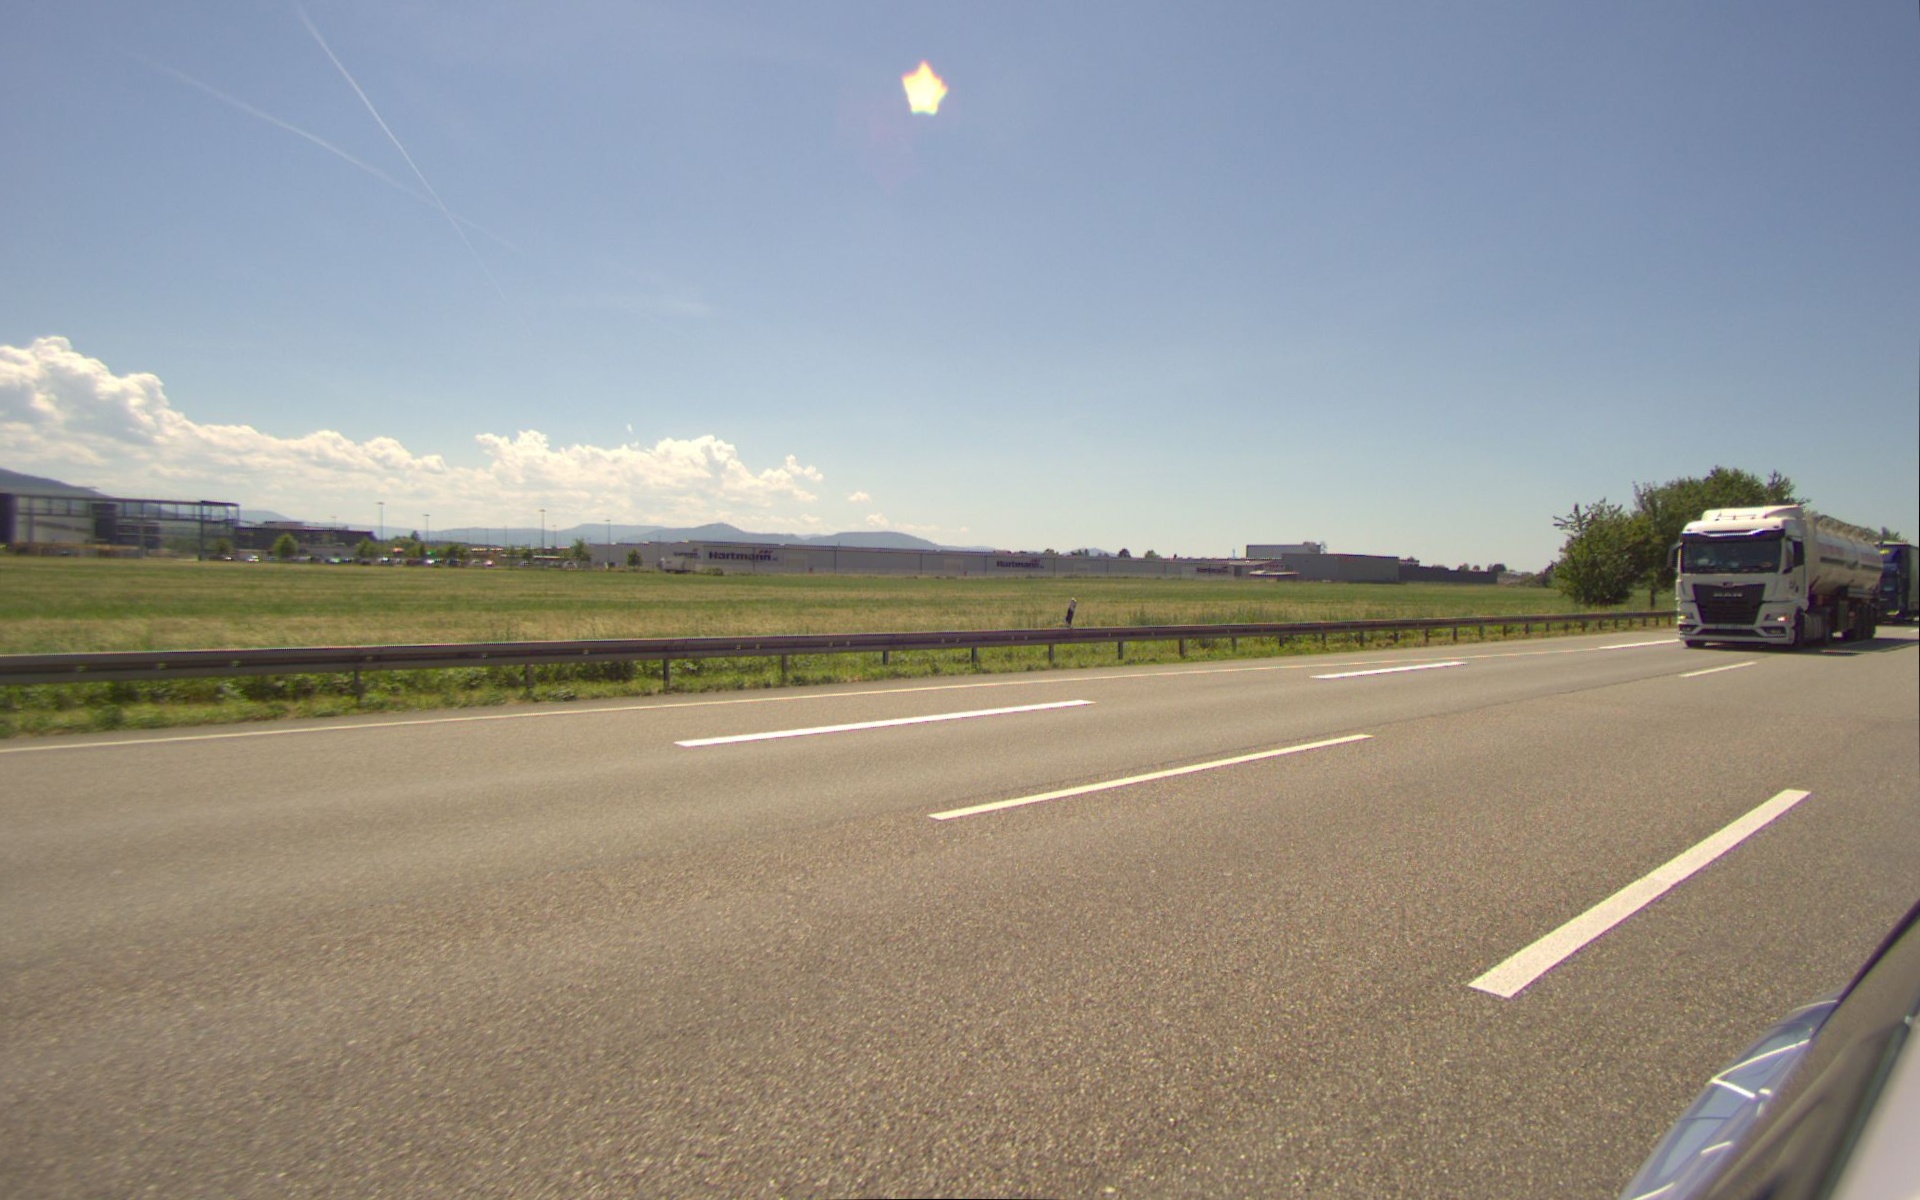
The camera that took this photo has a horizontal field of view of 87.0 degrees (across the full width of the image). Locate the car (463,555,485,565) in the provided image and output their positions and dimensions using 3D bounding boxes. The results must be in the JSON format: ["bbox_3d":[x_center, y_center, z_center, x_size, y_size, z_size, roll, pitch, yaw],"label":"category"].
[{"bbox_3d":[-104.451,-8.527,217.505,3.925,2.039,1.875,0,1,-36],"label":"car"}]

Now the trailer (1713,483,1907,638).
[{"bbox_3d":[27.793,-1.137,32.782,12.135,4.257,2.796,0,1,-41],"label":"trailer"}]

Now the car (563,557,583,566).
[{"bbox_3d":[-87.638,-8.642,229.194,3.925,2.039,1.875,0,1,-36],"label":"car"}]

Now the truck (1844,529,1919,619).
[{"bbox_3d":[48.458,-1.294,52.353,10.621,4.257,2.795,0,1,-42],"label":"truck"}]

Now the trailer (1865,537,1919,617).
[{"bbox_3d":[54.103,-1.253,57.402,10.618,4.257,2.795,0,1,-41],"label":"trailer"}]

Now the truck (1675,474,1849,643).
[{"bbox_3d":[22.310,-1.082,28.102,4.911,4.257,2.796,0,1,-40],"label":"truck"}]
